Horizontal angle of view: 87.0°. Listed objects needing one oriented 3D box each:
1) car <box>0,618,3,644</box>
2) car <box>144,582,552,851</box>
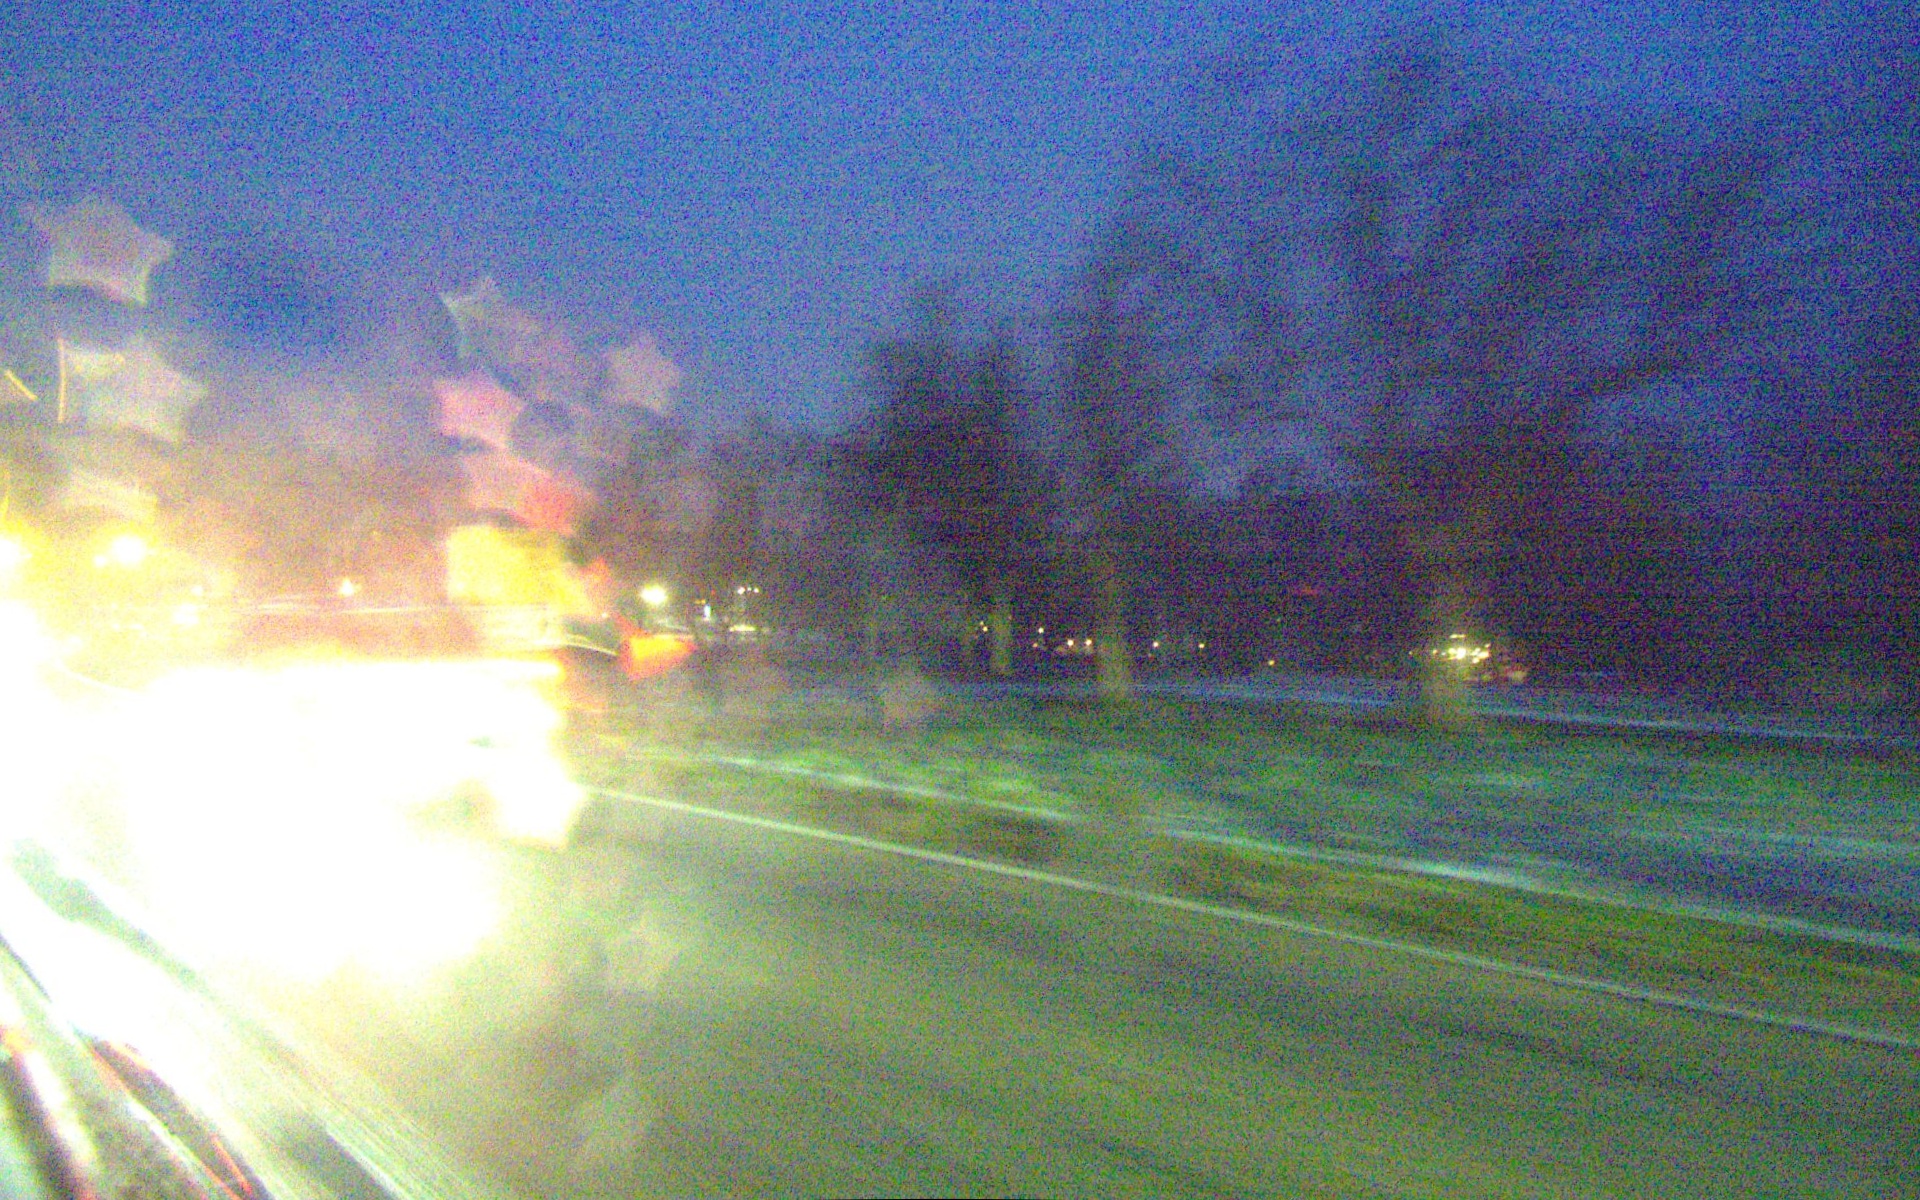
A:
[{"bbox_3d":[-58.816,1.886,60.664,1.873,1.572,4.006,-1,0,-41],"label":"car"},{"bbox_3d":[-4.934,0.759,7.973,3.728,1.627,1.624,-1,-2,40],"label":"car"}]
